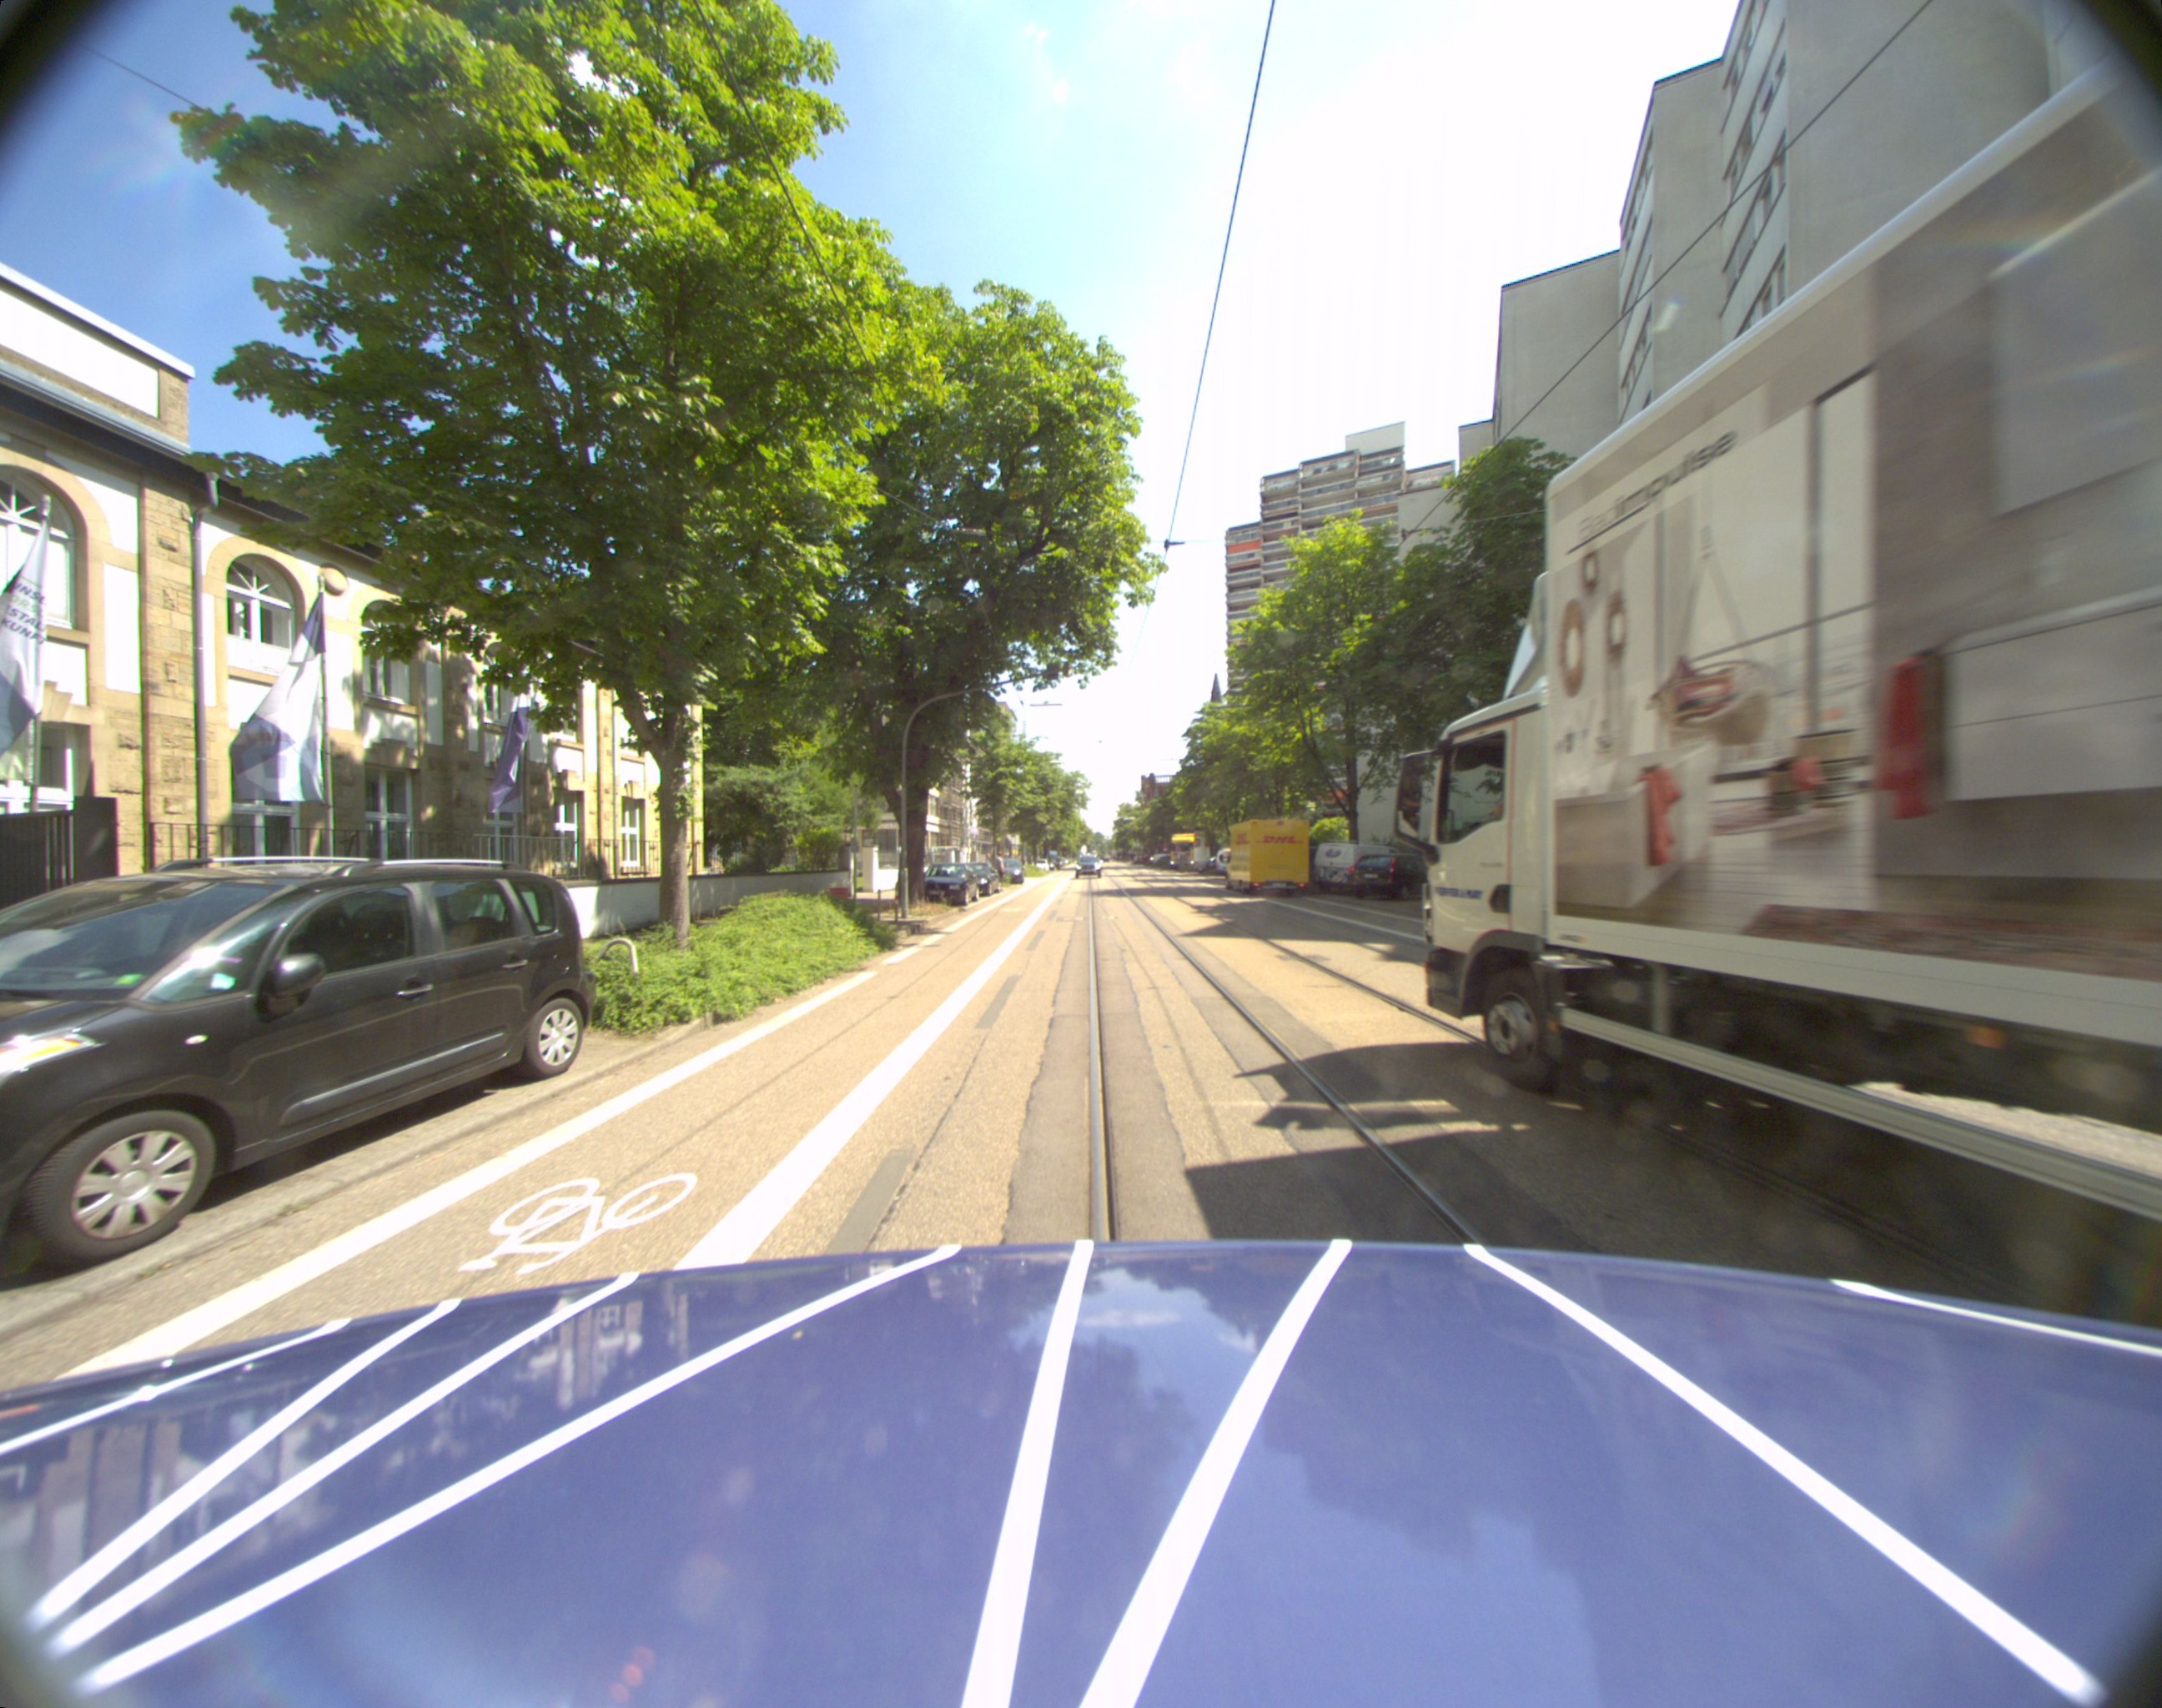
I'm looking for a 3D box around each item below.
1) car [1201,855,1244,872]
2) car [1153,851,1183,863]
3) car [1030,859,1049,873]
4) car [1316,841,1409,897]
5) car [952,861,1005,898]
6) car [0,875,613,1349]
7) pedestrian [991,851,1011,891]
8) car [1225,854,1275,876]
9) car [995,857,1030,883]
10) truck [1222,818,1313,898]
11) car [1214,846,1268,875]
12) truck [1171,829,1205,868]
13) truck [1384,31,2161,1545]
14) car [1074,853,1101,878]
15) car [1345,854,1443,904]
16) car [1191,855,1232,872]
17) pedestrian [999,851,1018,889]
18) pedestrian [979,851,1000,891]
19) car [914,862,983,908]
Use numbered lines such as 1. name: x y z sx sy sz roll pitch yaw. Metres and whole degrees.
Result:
1. car: 11.744 0.770 63.029 1.678 1.411 3.682 0 0 45
2. car: 13.212 0.504 115.256 4.337 1.797 1.995 -1 0 -32
3. car: -4.302 1.219 79.526 1.626 1.395 4.000 2 0 1
4. car: 11.081 0.538 29.832 4.061 2.030 1.598 -1 0 -40
5. car: -4.350 1.039 32.685 1.626 1.395 4.000 2 0 1
6. car: -4.802 0.998 4.268 1.734 1.606 4.084 2 0 1
7. pedestrian: -3.735 0.796 35.601 0.645 1.839 0.741 0 1 18
8. car: 11.763 0.753 52.842 1.678 1.445 3.682 0 0 45
9. car: -4.036 0.917 45.045 1.626 1.395 4.000 2 0 1
10. truck: 7.391 0.132 30.923 2.306 2.903 6.516 0 0 2
11. car: 11.853 0.461 56.078 1.873 2.095 4.596 0 0 42
12. truck: 12.093 -0.583 85.200 2.672 4.155 10.484 0 0 14
13. truck: 3.961 -0.159 2.019 2.793 3.598 8.254 0 0 -2
14. car: 0.476 0.767 53.314 1.752 1.641 4.298 -2 0 1
15. car: 10.915 0.810 26.382 3.692 1.566 1.678 -1 1 -42
16. car: 11.344 0.822 66.067 1.678 1.445 3.682 0 0 45
17. pedestrian: -3.545 0.785 37.107 0.741 1.839 0.645 -1 1 -25
18. pedestrian: -4.343 0.794 36.080 0.645 1.839 0.741 0 1 27
19. car: -4.482 1.017 26.211 1.626 1.395 3.823 2 0 1
